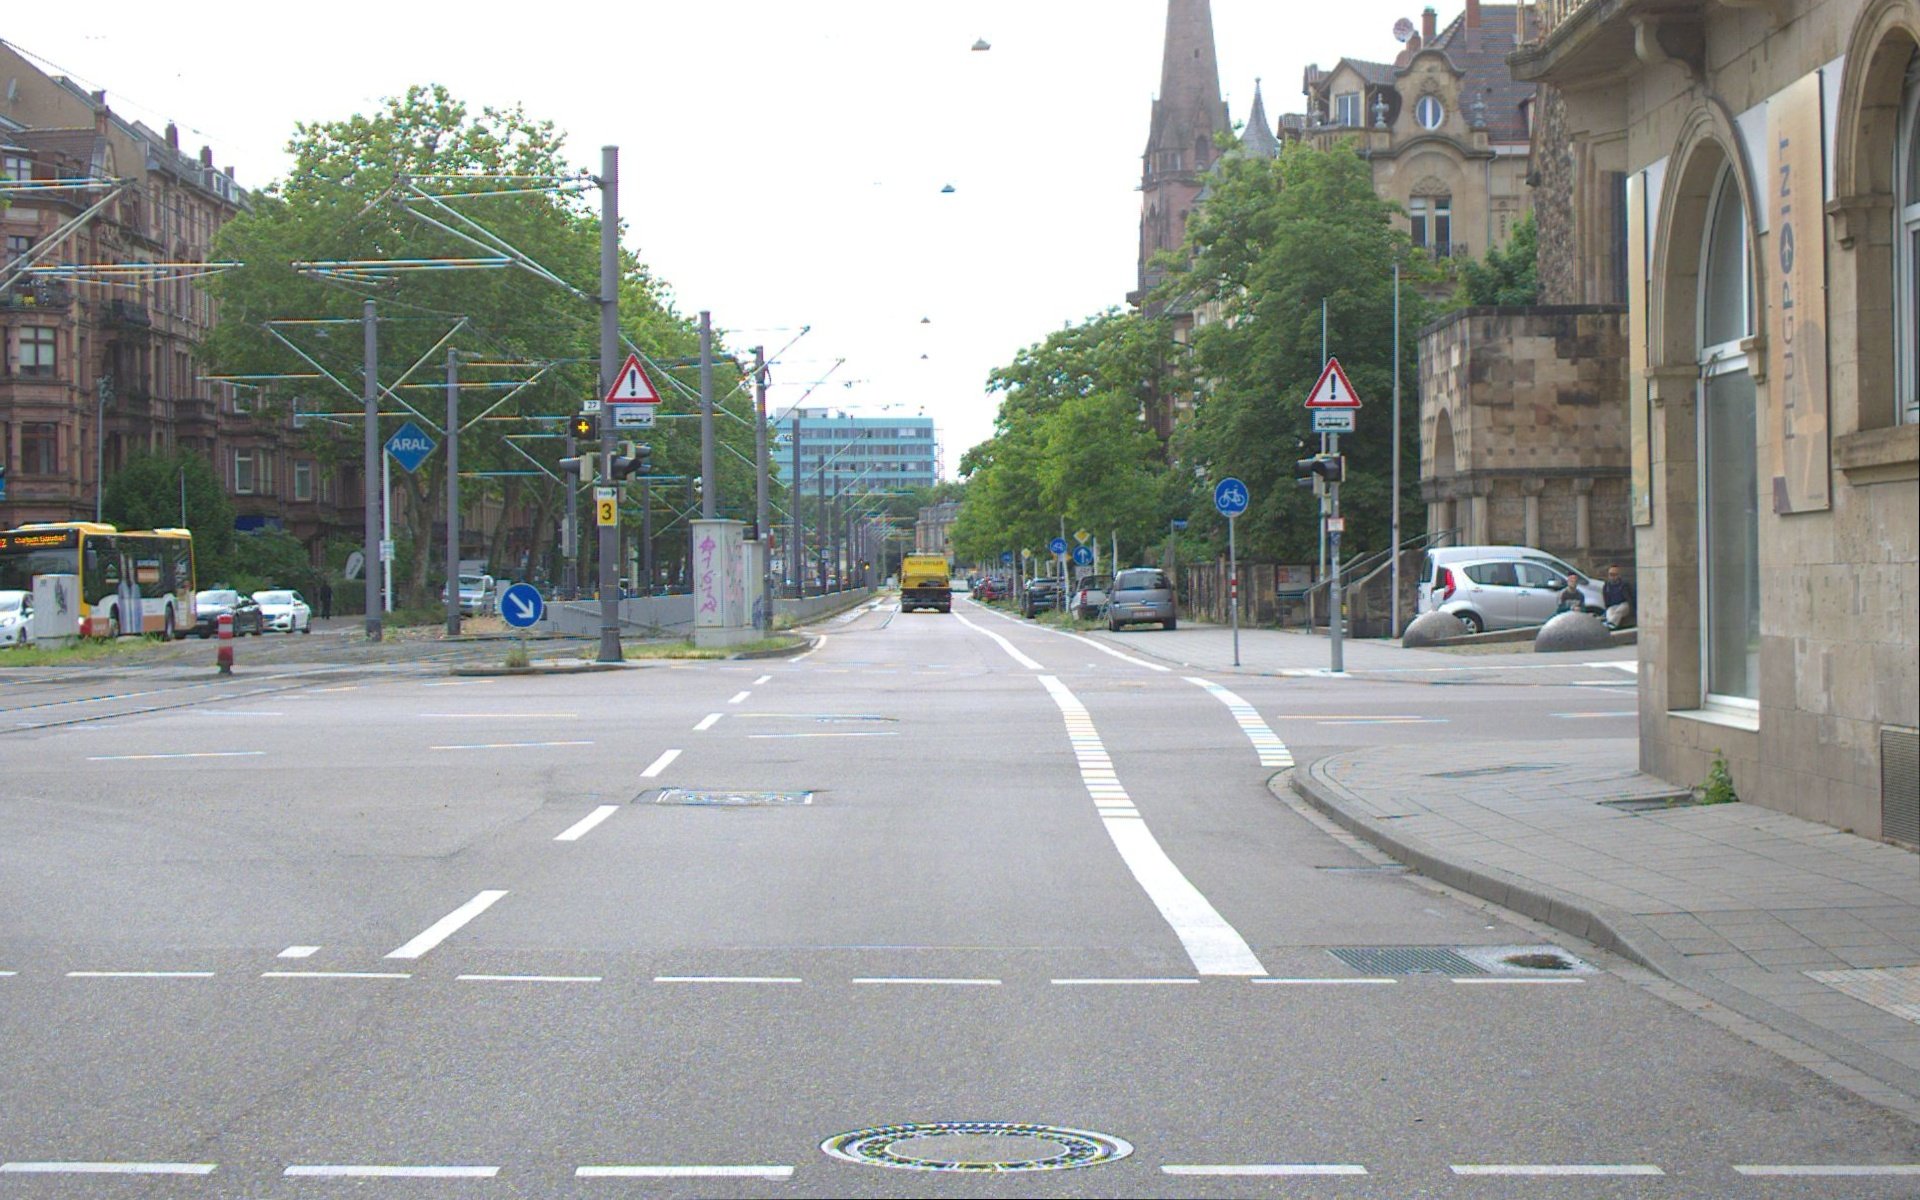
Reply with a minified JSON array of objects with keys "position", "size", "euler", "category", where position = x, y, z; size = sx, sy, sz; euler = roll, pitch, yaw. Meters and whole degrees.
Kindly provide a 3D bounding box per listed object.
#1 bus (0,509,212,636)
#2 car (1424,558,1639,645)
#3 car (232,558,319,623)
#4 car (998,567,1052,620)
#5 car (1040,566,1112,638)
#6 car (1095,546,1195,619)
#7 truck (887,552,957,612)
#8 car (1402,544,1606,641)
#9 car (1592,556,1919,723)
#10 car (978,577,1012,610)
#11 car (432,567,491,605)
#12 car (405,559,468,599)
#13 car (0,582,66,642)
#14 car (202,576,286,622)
[{"position":[-22.476,-0.730,89.106],"size":[3.231,3.025,12.311],"euler":[1,1,1],"category":"bus"},{"position":[10.765,0.017,64.941],"size":[3.713,1.558,2.000],"euler":[1,0,0],"category":"car"},{"position":[-21.838,-0.321,109.750],"size":[1.993,2.007,4.000],"euler":[1,1,-1],"category":"car"},{"position":[2.540,-0.275,136.000],"size":[1.993,2.007,4.000],"euler":[1,1,-1],"category":"car"},{"position":[3.345,0.032,99.628],"size":[1.993,2.007,4.000],"euler":[1,1,1],"category":"car"},{"position":[4.869,-0.472,89.995],"size":[1.994,1.849,4.024],"euler":[1,1,12],"category":"car"},{"position":[-1.790,-0.898,164.941],"size":[3.055,2.760,9.815],"euler":[0,1,1],"category":"truck"},{"position":[10.793,-0.161,68.415],"size":[3.713,1.849,2.000],"euler":[1,0,0],"category":"car"},{"position":[8.707,0.353,33.927],"size":[4.521,1.558,2.000],"euler":[0,1,-24],"category":"car"},{"position":[2.198,-0.401,216.847],"size":[1.993,2.007,4.000],"euler":[1,1,-1],"category":"car"},{"position":[-21.626,-0.638,149.348],"size":[1.993,1.605,4.000],"euler":[1,1,-1],"category":"car"},{"position":[-21.535,-0.878,141.532],"size":[1.993,1.605,4.000],"euler":[1,1,-1],"category":"car"},{"position":[-21.909,0.259,79.057],"size":[1.656,1.316,3.638],"euler":[1,1,1],"category":"car"},{"position":[-21.279,-0.049,102.237],"size":[1.656,1.316,3.638],"euler":[1,1,1],"category":"car"}]
